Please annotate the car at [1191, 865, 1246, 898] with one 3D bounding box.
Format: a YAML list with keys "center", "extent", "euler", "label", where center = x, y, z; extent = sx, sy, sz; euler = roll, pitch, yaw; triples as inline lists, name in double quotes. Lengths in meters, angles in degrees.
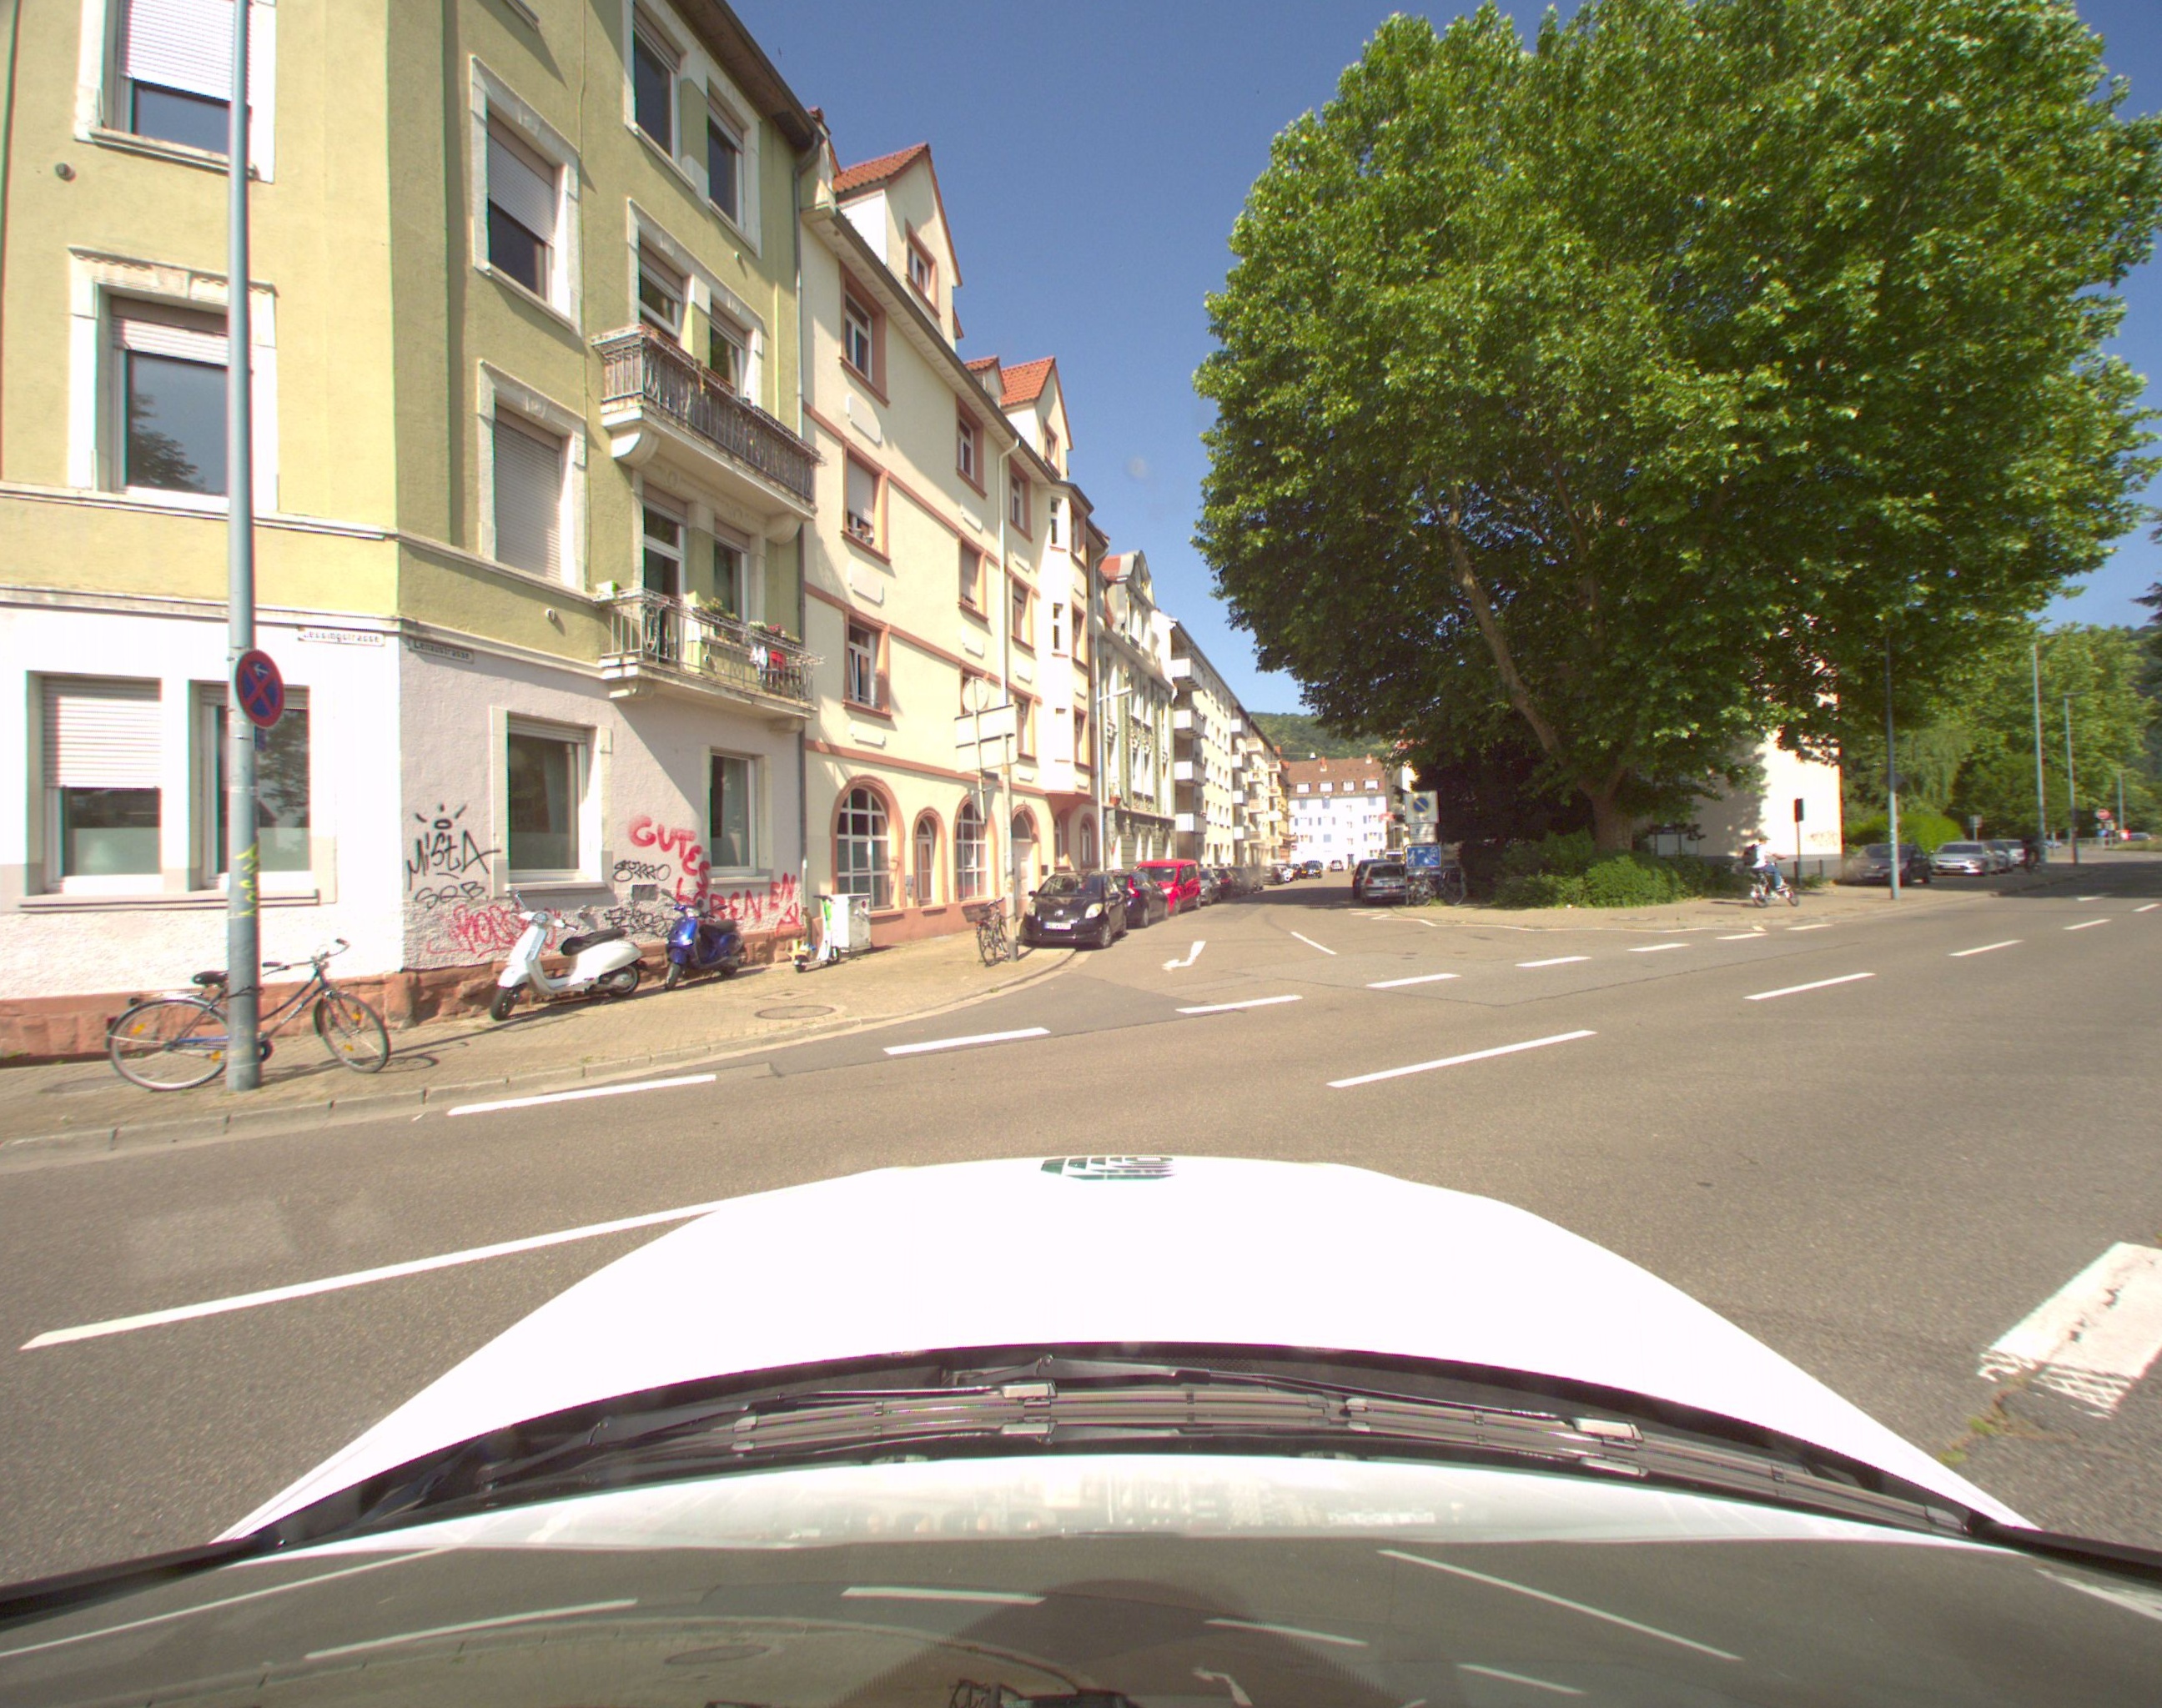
- center: [6.643, 1.282, 39.133]
  extent: [1.847, 1.486, 4.020]
  euler: [-2, -1, 20]
  label: "car"

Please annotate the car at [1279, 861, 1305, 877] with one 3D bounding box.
- center: [20.128, 1.413, 77.618]
  extent: [1.977, 1.478, 4.019]
  euler: [-2, -1, 19]
  label: "car"

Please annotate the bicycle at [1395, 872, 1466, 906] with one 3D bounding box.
- center: [10.769, 1.069, 25.157]
  extent: [1.878, 0.984, 0.977]
  euler: [-2, -1, 14]
  label: "bicycle"

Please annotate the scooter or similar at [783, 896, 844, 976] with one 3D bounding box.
- center: [-4.207, 1.260, 12.894]
  extent: [0.272, 1.127, 1.451]
  euler: [0, -1, 9]
  label: "scooter or similar"

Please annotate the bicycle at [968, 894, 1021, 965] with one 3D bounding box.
- center: [-1.439, 1.249, 13.829]
  extent: [0.622, 1.034, 1.883]
  euler: [-1, -1, 1]
  label: "bicycle"

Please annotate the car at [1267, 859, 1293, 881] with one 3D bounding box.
- center: [16.707, 1.312, 68.138]
  extent: [1.848, 1.722, 3.879]
  euler: [-2, -1, 17]
  label: "car"

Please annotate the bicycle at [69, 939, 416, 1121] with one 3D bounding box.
- center: [-6.251, 1.266, 6.201]
  extent: [1.738, 1.087, 0.573]
  euler: [-1, -1, -27]
  label: "bicycle"

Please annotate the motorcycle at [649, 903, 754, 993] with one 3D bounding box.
- center: [-5.255, 1.263, 11.363]
  extent: [0.424, 1.094, 1.457]
  euler: [0, -1, 19]
  label: "motorcycle"

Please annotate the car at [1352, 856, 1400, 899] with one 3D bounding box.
- center: [12.221, 0.926, 33.800]
  extent: [1.734, 1.657, 3.799]
  euler: [-2, -1, 20]
  label: "car"

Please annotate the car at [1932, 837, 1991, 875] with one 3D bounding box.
- center: [38.892, 0.080, 35.954]
  extent: [4.021, 1.574, 1.627]
  euler: [-1, -1, -41]
  label: "car"

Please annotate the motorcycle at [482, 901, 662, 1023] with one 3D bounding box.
- center: [-5.821, 1.184, 9.435]
  extent: [0.468, 1.150, 1.775]
  euler: [0, 1, 26]
  label: "motorcycle"

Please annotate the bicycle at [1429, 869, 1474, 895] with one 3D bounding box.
- center: [14.567, 1.108, 32.030]
  extent: [1.558, 0.993, 0.459]
  euler: [0, 1, 17]
  label: "bicycle"

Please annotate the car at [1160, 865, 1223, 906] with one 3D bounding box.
- center: [4.517, 1.221, 32.782]
  extent: [1.848, 1.486, 4.018]
  euler: [-2, -1, 17]
  label: "car"

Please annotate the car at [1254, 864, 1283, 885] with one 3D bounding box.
- center: [14.173, 1.542, 61.480]
  extent: [1.848, 1.486, 3.879]
  euler: [-2, -1, 17]
  label: "car"

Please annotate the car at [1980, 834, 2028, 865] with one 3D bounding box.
- center: [53.451, -0.277, 47.149]
  extent: [4.021, 1.680, 1.754]
  euler: [-1, -1, -41]
  label: "car"

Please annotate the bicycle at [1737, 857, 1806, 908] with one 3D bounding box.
- center: [16.993, 0.694, 20.055]
  extent: [1.281, 1.189, 0.553]
  euler: [-1, -1, -7]
  label: "bicycle"

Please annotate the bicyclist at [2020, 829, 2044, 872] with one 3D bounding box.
- center: [42.656, -0.143, 36.518]
  extent: [0.843, 1.894, 0.640]
  euler: [-1, -1, -41]
  label: "bicyclist"

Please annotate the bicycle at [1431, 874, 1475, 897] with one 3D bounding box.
- center: [14.170, 1.194, 31.069]
  extent: [1.490, 0.834, 0.385]
  euler: [0, 1, 17]
  label: "bicycle"

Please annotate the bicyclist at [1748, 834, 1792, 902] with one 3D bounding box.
- center: [16.961, 0.341, 20.059]
  extent: [0.587, 1.633, 0.540]
  euler: [-1, -1, -6]
  label: "bicyclist"

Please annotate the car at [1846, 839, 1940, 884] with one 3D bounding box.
- center: [29.265, 0.248, 29.324]
  extent: [3.910, 1.512, 1.774]
  euler: [-1, -1, -36]
  label: "car"

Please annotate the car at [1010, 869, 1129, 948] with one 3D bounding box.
- center: [-0.118, 1.086, 17.420]
  extent: [1.809, 1.447, 3.779]
  euler: [-2, -1, 10]
  label: "car"

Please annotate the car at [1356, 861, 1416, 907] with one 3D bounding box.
- center: [10.563, 0.986, 28.276]
  extent: [1.789, 1.451, 3.813]
  euler: [-2, -1, 20]
  label: "car"

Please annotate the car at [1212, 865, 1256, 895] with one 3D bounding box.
- center: [8.291, 1.356, 43.930]
  extent: [1.848, 1.486, 4.017]
  euler: [-2, -1, 17]
  label: "car"

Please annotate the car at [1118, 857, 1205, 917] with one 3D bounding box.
- center: [2.785, 1.044, 27.260]
  extent: [1.850, 1.841, 4.247]
  euler: [-2, -1, 19]
  label: "car"

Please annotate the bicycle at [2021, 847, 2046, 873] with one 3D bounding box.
- center: [42.649, 0.242, 36.493]
  extent: [1.812, 1.122, 0.653]
  euler: [-1, -1, -42]
  label: "bicycle"

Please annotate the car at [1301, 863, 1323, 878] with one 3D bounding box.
- center: [23.082, 1.635, 81.275]
  extent: [1.734, 1.461, 3.799]
  euler: [-2, -1, 20]
  label: "car"

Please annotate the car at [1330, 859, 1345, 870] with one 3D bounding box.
- center: [35.929, 1.431, 114.121]
  extent: [1.734, 1.481, 3.799]
  euler: [-2, -1, 20]
  label: "car"

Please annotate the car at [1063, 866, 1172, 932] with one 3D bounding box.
- center: [1.111, 1.163, 22.298]
  extent: [1.966, 1.543, 4.081]
  euler: [-2, -1, 17]
  label: "car"
